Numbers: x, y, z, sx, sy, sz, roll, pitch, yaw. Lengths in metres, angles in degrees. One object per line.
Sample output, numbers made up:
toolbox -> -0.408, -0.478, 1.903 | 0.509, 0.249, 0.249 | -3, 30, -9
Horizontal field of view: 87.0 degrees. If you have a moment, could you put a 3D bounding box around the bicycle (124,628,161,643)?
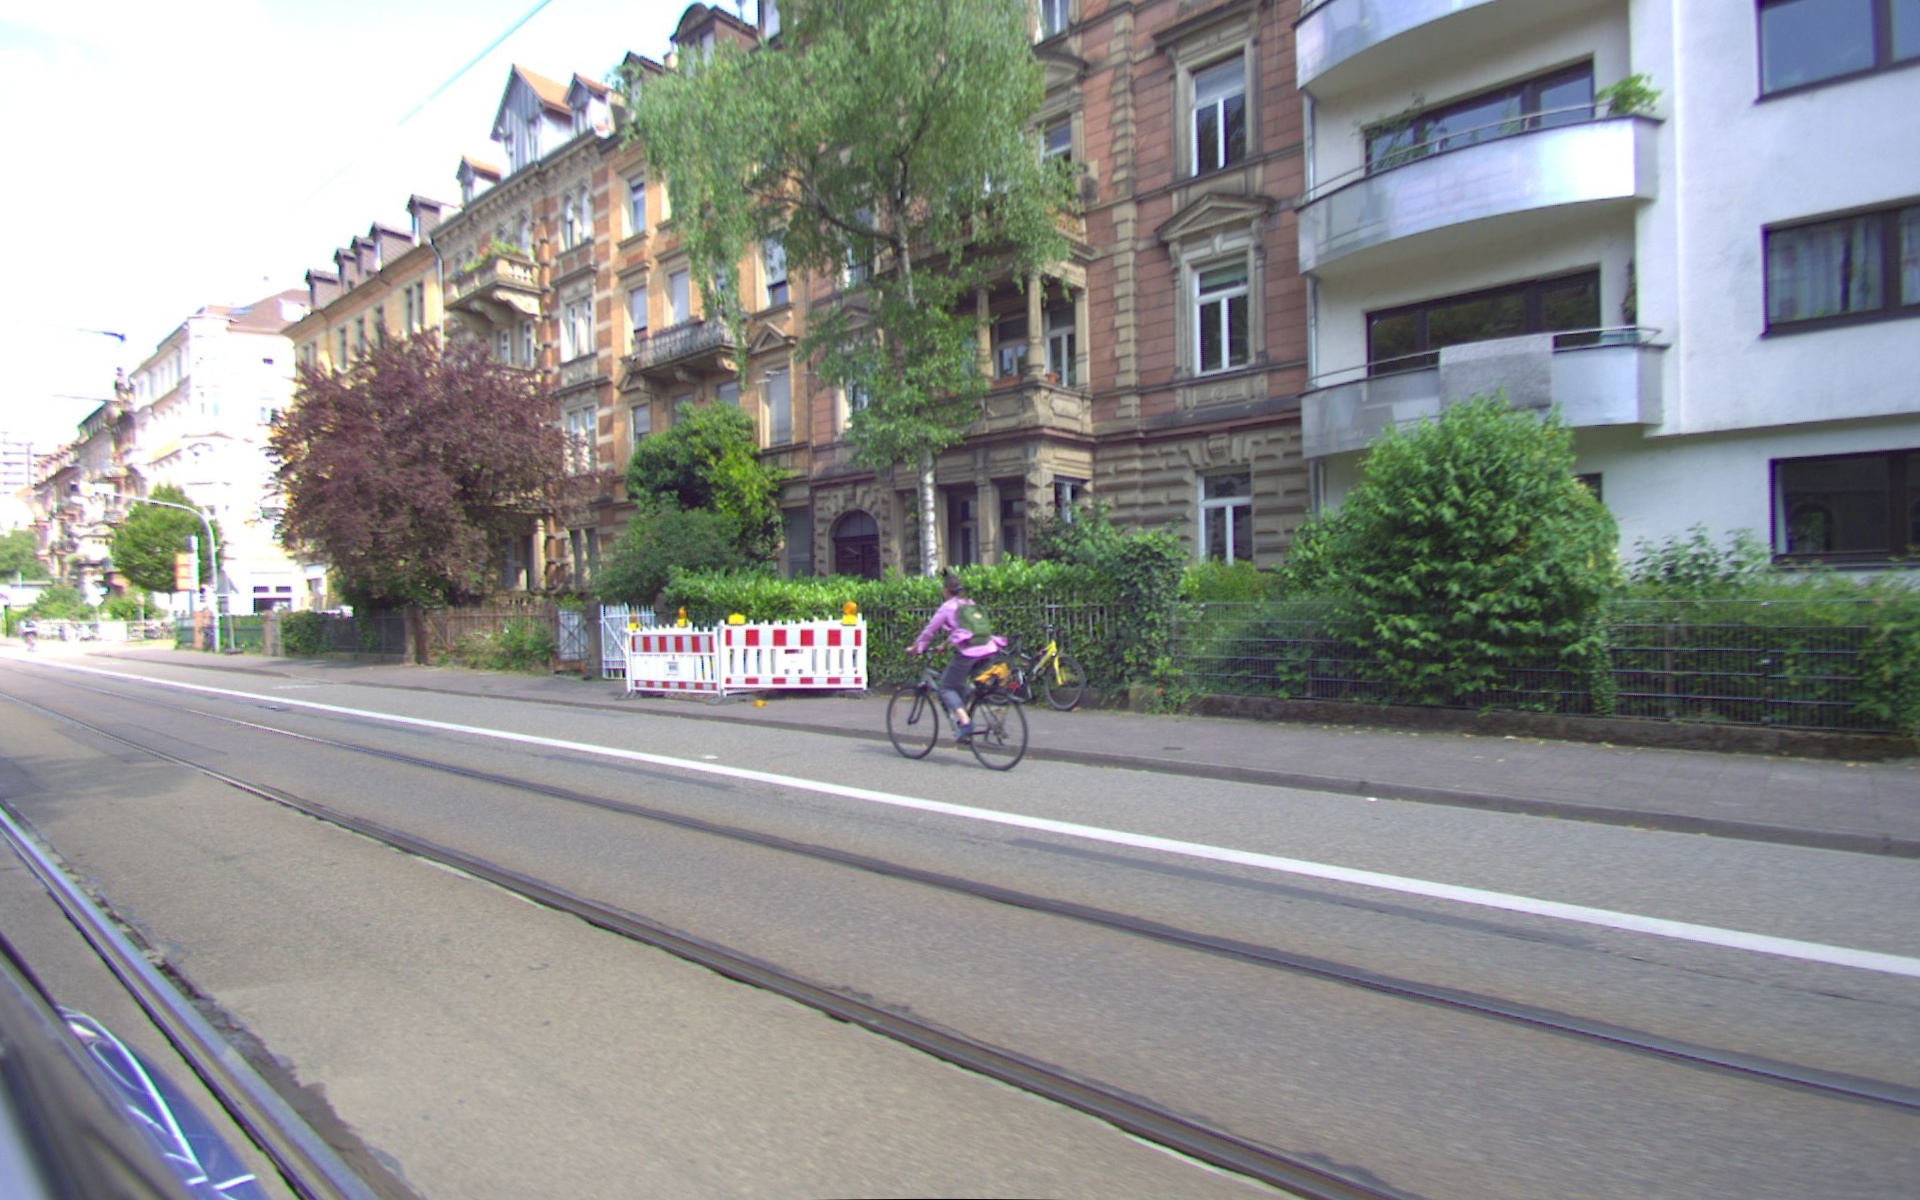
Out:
bicycle -> -52.388, 2.296, 64.861 | 0.483, 0.948, 1.731 | -1, -2, 40

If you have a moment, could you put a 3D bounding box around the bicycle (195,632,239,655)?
bicycle -> -30.644, 1.792, 41.753 | 0.401, 0.948, 1.412 | -5, -5, 43

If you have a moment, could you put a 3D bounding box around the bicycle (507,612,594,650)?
bicycle -> -10.947, 0.811, 27.110 | 0.586, 0.944, 2.106 | -2, 0, 40

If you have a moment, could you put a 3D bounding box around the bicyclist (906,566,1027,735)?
bicyclist -> 0.047, 0.437, 9.154 | 0.942, 1.436, 0.558 | -2, 0, 43

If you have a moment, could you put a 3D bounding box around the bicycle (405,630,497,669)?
bicycle -> -13.505, 1.301, 26.905 | 0.586, 0.944, 2.106 | -2, 0, 40

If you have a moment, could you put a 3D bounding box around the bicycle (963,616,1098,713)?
bicycle -> 0.872, 0.794, 12.904 | 1.818, 1.146, 0.408 | -2, 0, 41

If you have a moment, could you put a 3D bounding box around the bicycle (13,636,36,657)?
bicycle -> -44.617, 2.218, 48.259 | 0.598, 0.948, 1.758 | 2, -2, -37

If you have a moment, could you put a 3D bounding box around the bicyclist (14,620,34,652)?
bicyclist -> -44.544, 1.724, 48.178 | 0.605, 1.510, 0.744 | 1, -2, -37

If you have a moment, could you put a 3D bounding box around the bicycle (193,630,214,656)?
bicycle -> -29.858, 1.696, 39.938 | 1.472, 0.948, 0.395 | -5, -5, 43

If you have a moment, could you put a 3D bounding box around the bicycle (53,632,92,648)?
bicycle -> -54.302, 2.452, 61.941 | 1.724, 0.948, 0.485 | 1, -2, -25

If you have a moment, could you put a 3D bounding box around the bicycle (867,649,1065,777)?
bicycle -> 0.007, 0.973, 9.199 | 1.918, 0.997, 0.563 | -2, 0, 44
